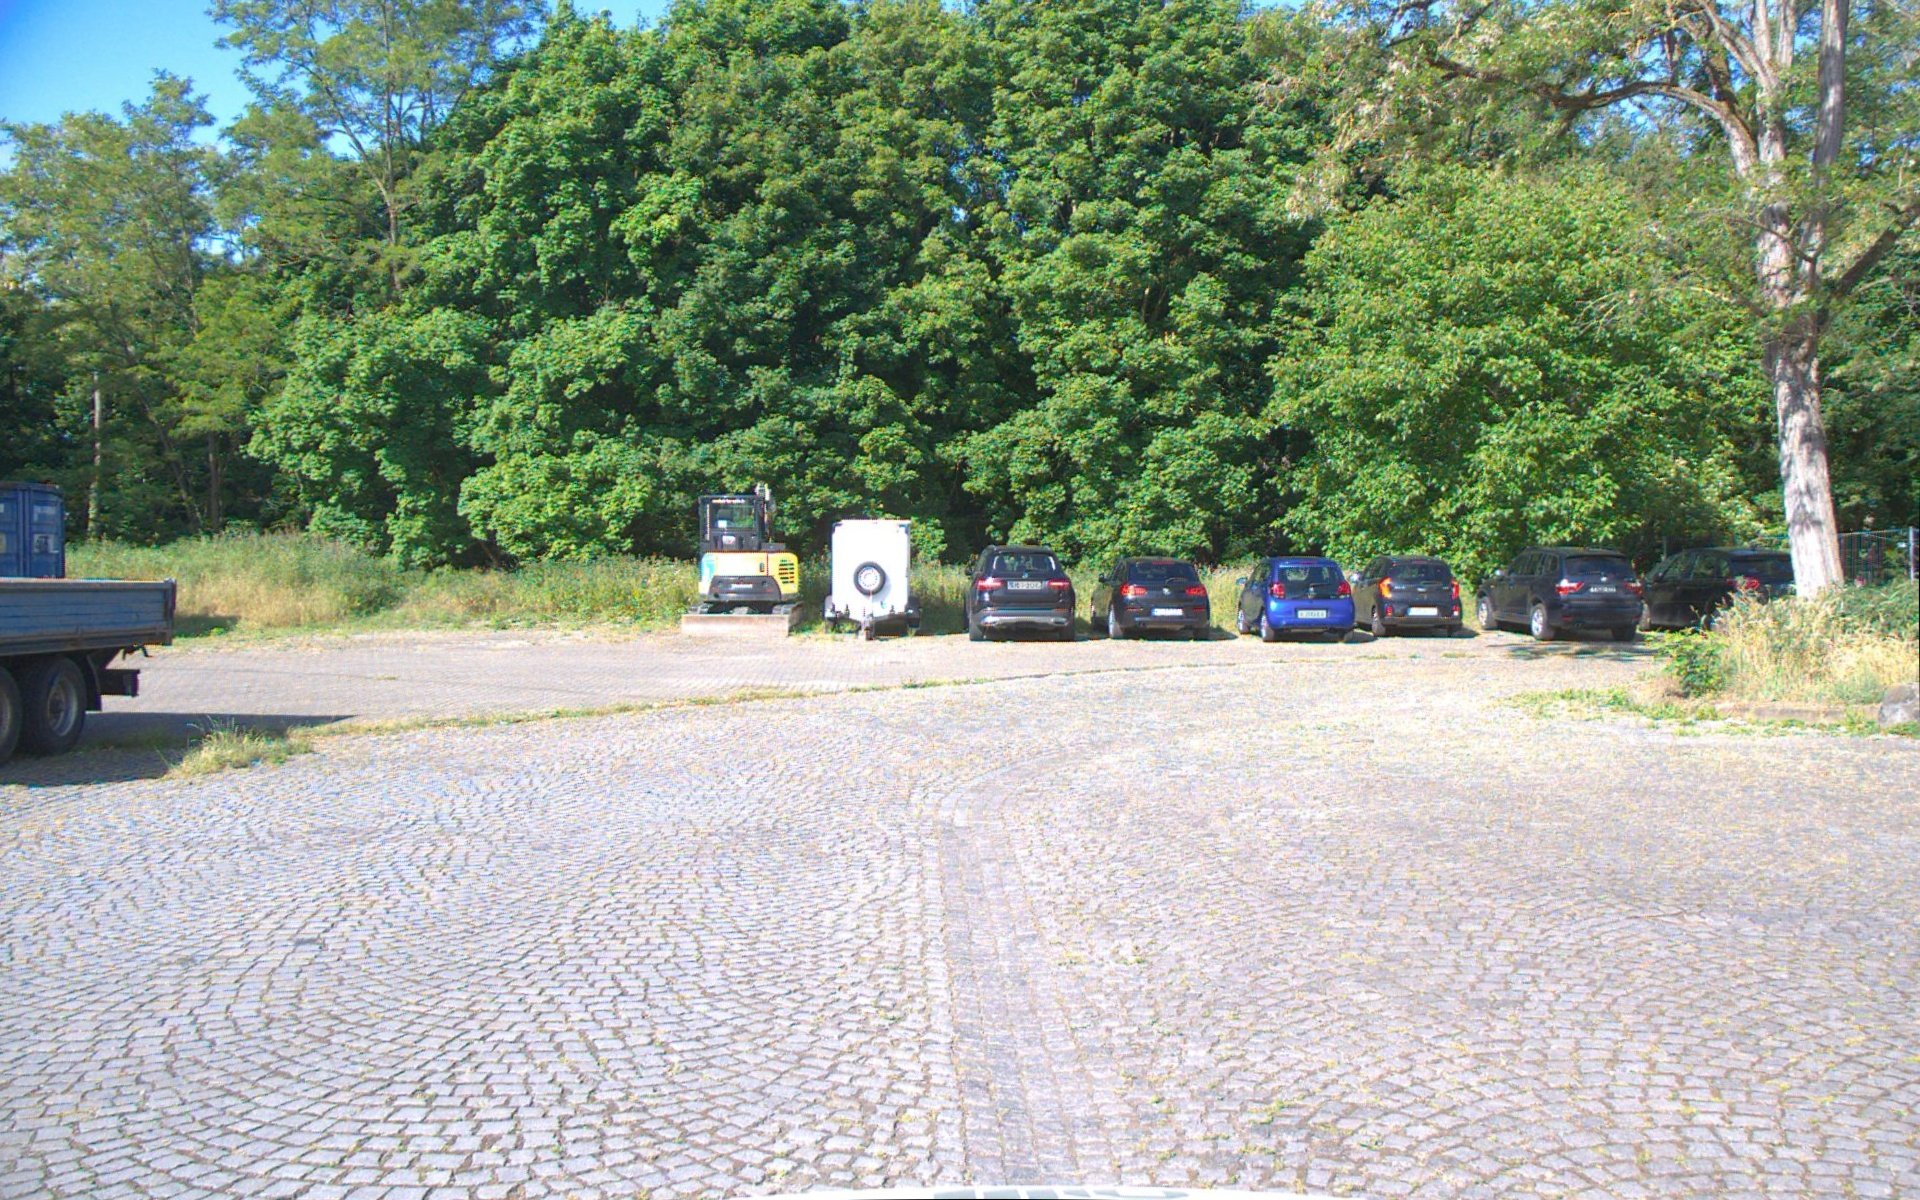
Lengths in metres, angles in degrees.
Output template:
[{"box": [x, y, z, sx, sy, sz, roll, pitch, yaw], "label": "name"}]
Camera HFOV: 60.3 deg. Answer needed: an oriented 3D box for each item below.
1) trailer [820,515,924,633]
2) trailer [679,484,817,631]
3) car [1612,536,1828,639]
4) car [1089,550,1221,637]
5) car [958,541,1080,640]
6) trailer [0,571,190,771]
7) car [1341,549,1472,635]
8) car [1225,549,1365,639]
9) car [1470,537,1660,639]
[{"box": [-1.605, -0.525, 30.927, 1.781, 2.086, 2.851, 0, 2, 0], "label": "trailer"}, {"box": [-3.912, -0.855, 31.031, 2.212, 2.581, 2.852, 0, 5, 0], "label": "trailer"}, {"box": [14.340, -0.311, 31.513, 1.789, 1.616, 4.270, -1, 5, -6], "label": "car"}, {"box": [3.490, -0.159, 30.183, 1.851, 1.436, 3.789, 0, 2, -2], "label": "car"}, {"box": [0.984, -0.226, 29.780, 1.924, 1.617, 4.131, 0, 2, -2], "label": "car"}, {"box": [-8.205, 0.497, 12.498, 2.587, 1.439, 4.860, 0, 1, -2], "label": "trailer"}, {"box": [8.429, -0.203, 31.508, 1.702, 1.476, 3.728, 1, 2, 4], "label": "car"}, {"box": [6.065, -0.159, 30.340, 1.743, 1.483, 3.790, 0, 2, -1], "label": "car"}, {"box": [11.295, -0.293, 31.190, 1.837, 1.659, 4.273, 0, 4, -2], "label": "car"}]
